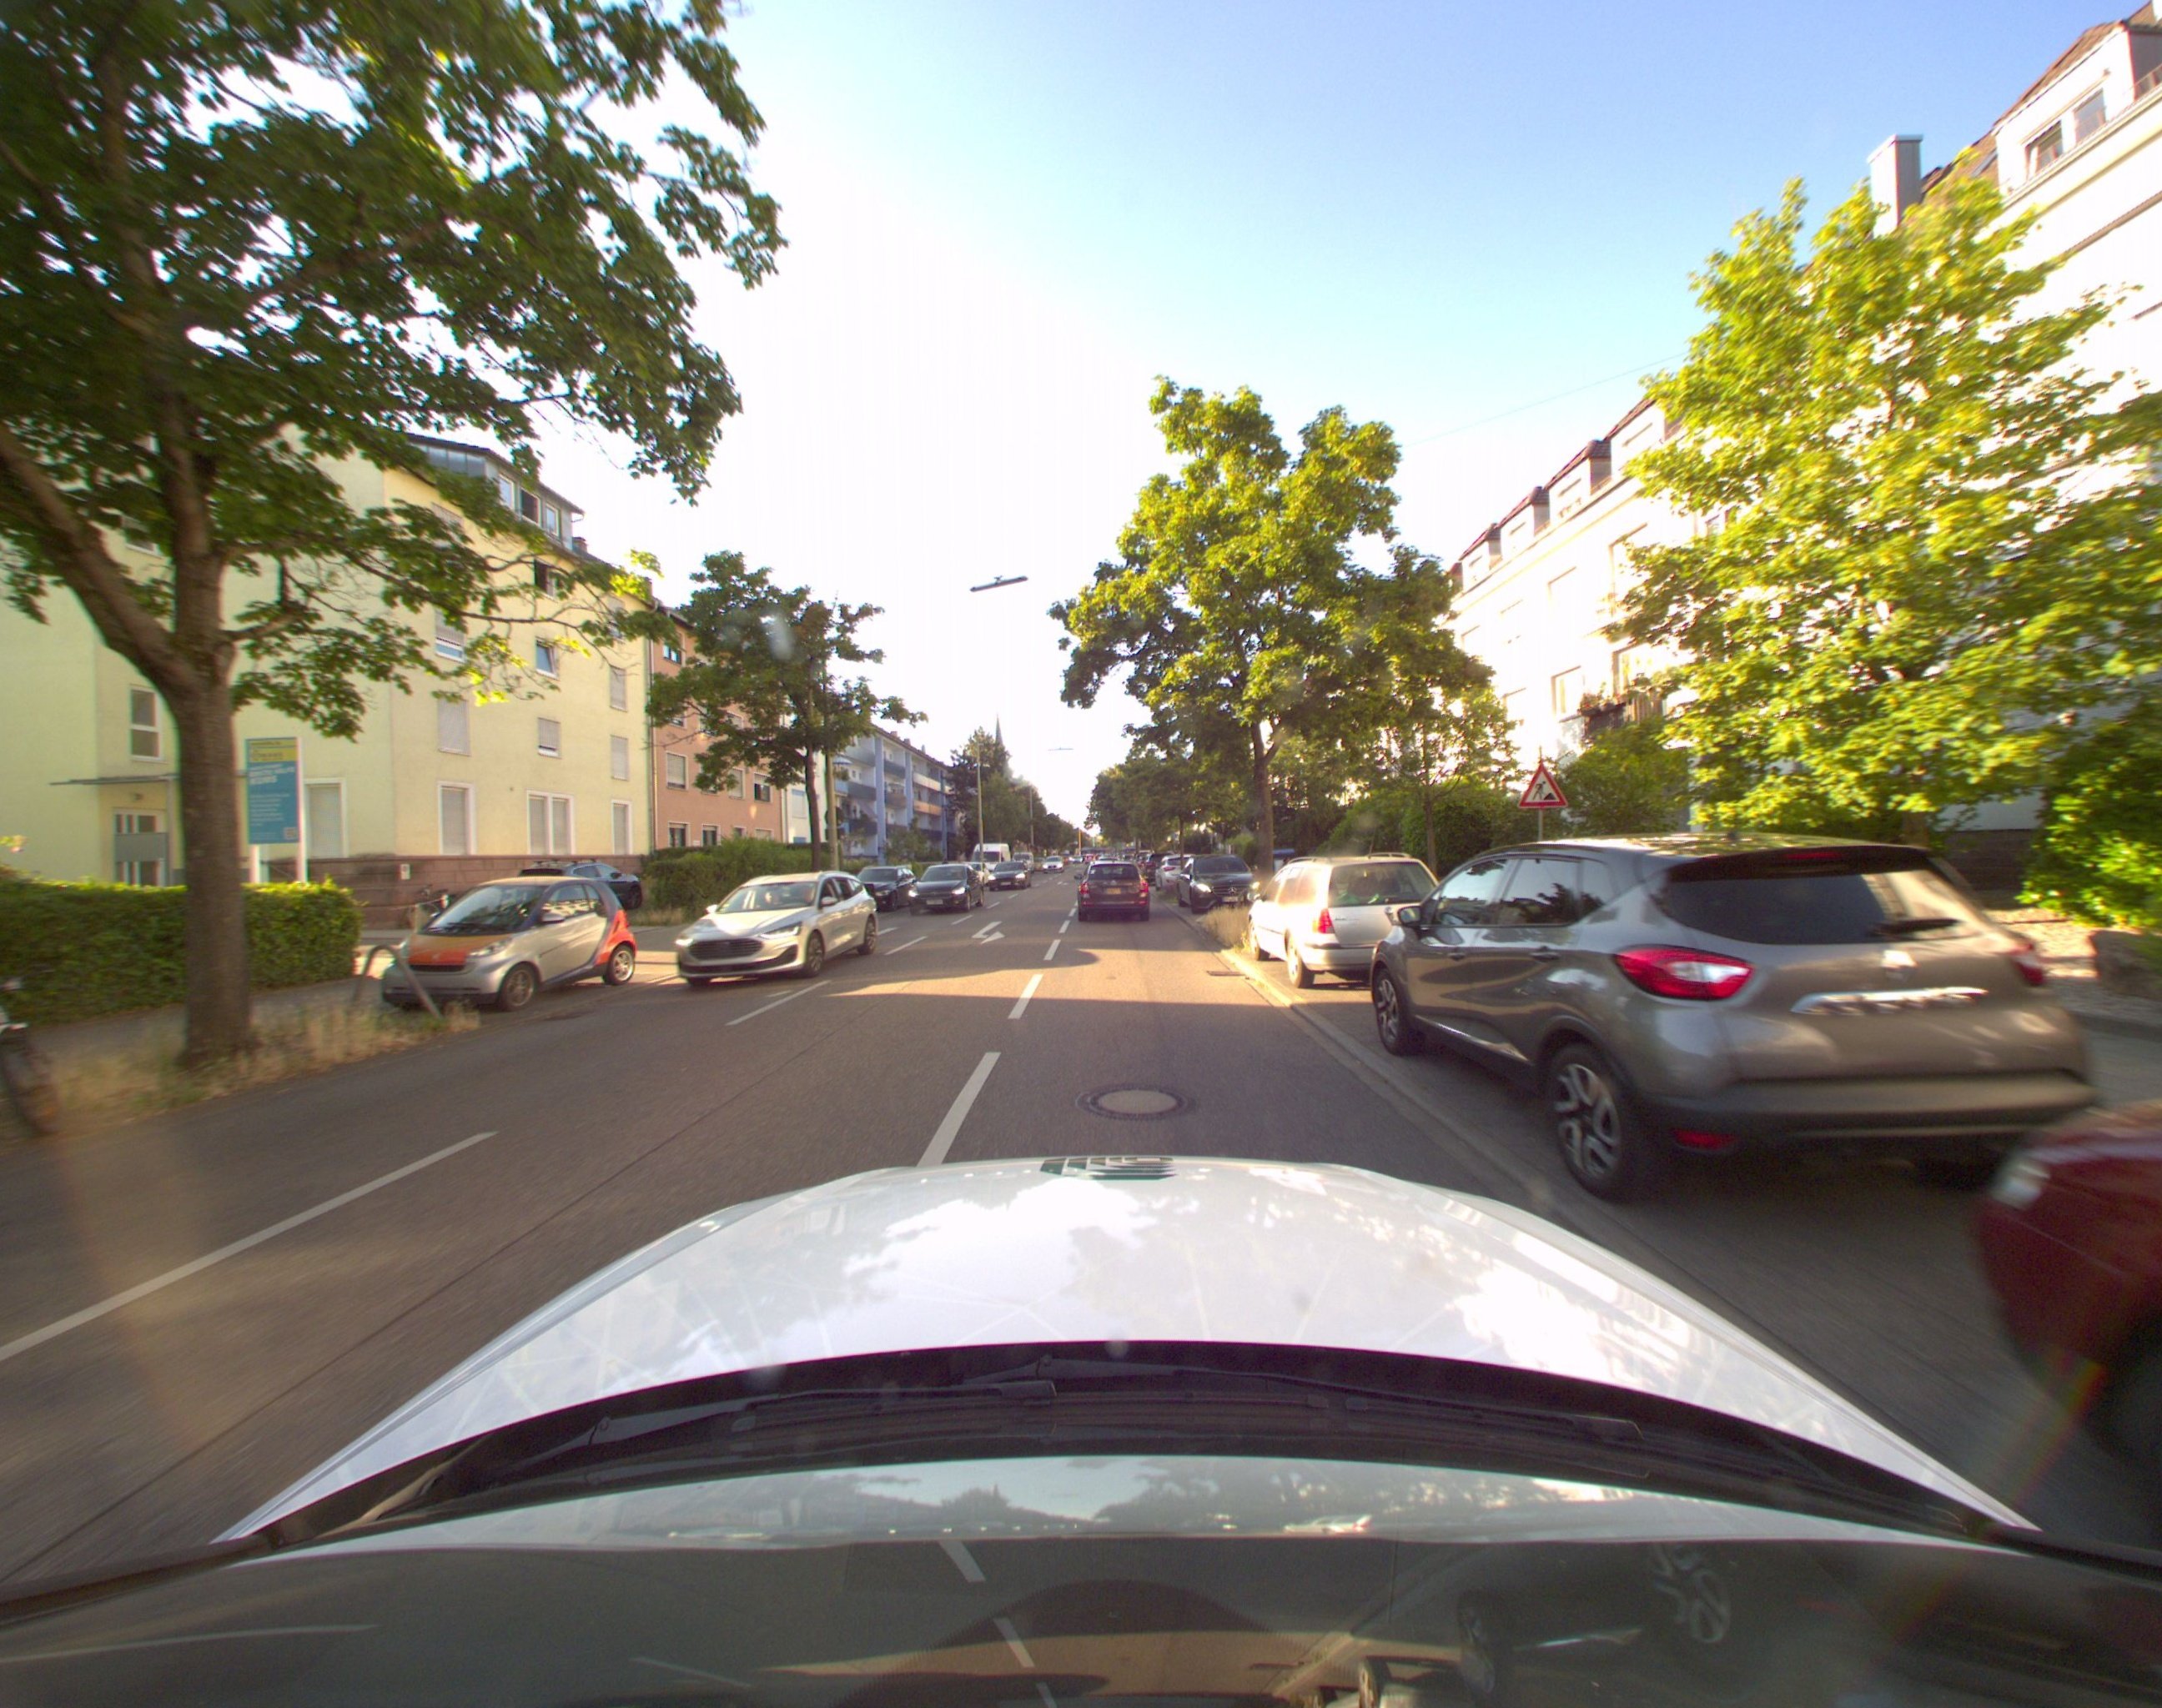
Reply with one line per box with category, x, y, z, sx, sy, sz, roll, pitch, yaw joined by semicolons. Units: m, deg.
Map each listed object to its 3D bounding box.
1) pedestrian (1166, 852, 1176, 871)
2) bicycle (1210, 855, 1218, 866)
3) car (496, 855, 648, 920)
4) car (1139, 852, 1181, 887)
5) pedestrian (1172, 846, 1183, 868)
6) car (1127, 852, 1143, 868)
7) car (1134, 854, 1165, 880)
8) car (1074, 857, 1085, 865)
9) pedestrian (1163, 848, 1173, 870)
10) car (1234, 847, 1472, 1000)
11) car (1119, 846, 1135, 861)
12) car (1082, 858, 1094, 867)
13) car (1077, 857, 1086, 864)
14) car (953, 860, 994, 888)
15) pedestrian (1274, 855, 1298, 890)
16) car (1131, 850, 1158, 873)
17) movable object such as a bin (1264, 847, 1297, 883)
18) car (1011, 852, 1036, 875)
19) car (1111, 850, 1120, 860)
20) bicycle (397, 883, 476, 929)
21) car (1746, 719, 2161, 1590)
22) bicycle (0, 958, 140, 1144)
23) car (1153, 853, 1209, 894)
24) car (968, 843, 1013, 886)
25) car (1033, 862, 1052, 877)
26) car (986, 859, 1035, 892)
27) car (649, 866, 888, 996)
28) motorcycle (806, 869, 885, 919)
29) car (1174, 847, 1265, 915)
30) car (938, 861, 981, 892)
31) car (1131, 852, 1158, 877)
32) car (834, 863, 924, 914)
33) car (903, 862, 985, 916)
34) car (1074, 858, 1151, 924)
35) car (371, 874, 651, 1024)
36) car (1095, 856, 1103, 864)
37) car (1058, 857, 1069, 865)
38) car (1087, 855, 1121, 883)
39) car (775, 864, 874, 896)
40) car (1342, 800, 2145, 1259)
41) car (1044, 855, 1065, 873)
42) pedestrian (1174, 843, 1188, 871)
pedestrian;8.102;0.655;73.060;0.794;1.721;0.746;-3;0;10
bicycle;11.958;0.575;73.130;0.473;0.944;1.680;-3;0;1
car;-14.606;0.919;23.666;1.821;1.683;4.000;-1;-1;1
car;3.868;0.717;40.250;1.712;1.601;4.097;-2;0;1
pedestrian;8.462;0.292;71.105;0.793;1.861;0.954;-3;0;12
car;5.904;0.637;89.699;1.747;1.686;4.255;0;0;3
car;4.265;0.779;50.899;1.607;1.466;3.960;-3;0;1
car;-0.323;1.239;149.636;1.774;1.494;3.973;-2;0;2
pedestrian;7.622;0.422;71.267;0.746;1.861;1.068;-3;0;1
car;3.209;0.717;10.568;1.631;1.490;4.416;-3;0;1
car;5.975;-0.044;106.146;1.908;1.860;5.637;-2;0;3
car;1.103;1.372;134.542;1.776;1.480;3.968;0;0;-2
car;0.081;1.629;202.605;1.990;1.750;3.994;-2;0;-4
car;-6.196;1.145;47.221;1.700;1.492;4.060;1;0;2
pedestrian;7.377;0.648;29.347;0.670;1.235;0.791;-1;-1;2
car;5.156;0.569;66.781;1.795;1.808;4.422;0;0;-1
movable object such as a bin;8.867;0.460;36.230;1.259;1.492;1.143;-4;-1;11
car;-5.336;0.892;76.677;1.862;2.031;5.301;-1;0;1
car;6.534;0.203;154.072;1.747;1.806;4.002;0;0;2
bicycle;-17.454;1.388;22.121;0.483;1.089;2.000;-1;0;2
car;2.926;0.547;0.177;1.717;1.655;4.595;-2;0;-1
bicycle;-7.398;1.277;5.424;1.668;1.089;0.561;0;0;3
car;3.930;0.730;32.739;1.712;1.494;4.394;-2;0;0
car;-5.855;0.666;53.523;1.986;2.616;7.106;-1;0;1
car;-4.121;1.656;87.171;1.611;1.480;3.875;0;0;4
car;-3.466;1.039;40.823;1.692;1.470;4.299;-3;0;4
car;-4.553;1.032;12.717;1.825;1.470;4.452;-5;0;1
motorcycle;-6.832;1.126;23.626;2.034;1.389;0.981;1;-2;-31
car;3.706;0.670;22.598;1.866;1.581;4.824;-3;0;3
car;-6.312;1.139;42.545;1.606;1.473;3.813;0;0;1
car;4.477;0.712;57.603;1.747;1.662;4.255;-3;0;3
car;-6.698;1.100;27.498;1.772;1.505;4.590;-2;0;1
car;-4.141;1.020;25.280;1.694;1.403;4.028;-4;0;1
car;0.835;0.853;20.586;1.747;1.492;4.003;0;0;3
car;-7.257;1.121;10.707;1.492;1.617;2.865;-2;0;4
car;4.114;1.401;185.803;1.641;1.599;3.645;-2;0;-4
car;-3.175;1.295;148.799;1.773;1.480;3.975;0;0;4
car;1.372;0.893;48.544;1.885;1.506;3.790;2;-1;1
car;-11.894;1.196;37.969;3.972;1.413;1.916;0;0;1
car;3.019;0.637;4.933;1.630;1.568;4.001;-3;0;2
car;-2.421;0.919;75.745;1.874;1.543;4.264;-2;0;-2
pedestrian;6.094;0.175;49.823;0.784;1.700;0.809;-1;-1;6
